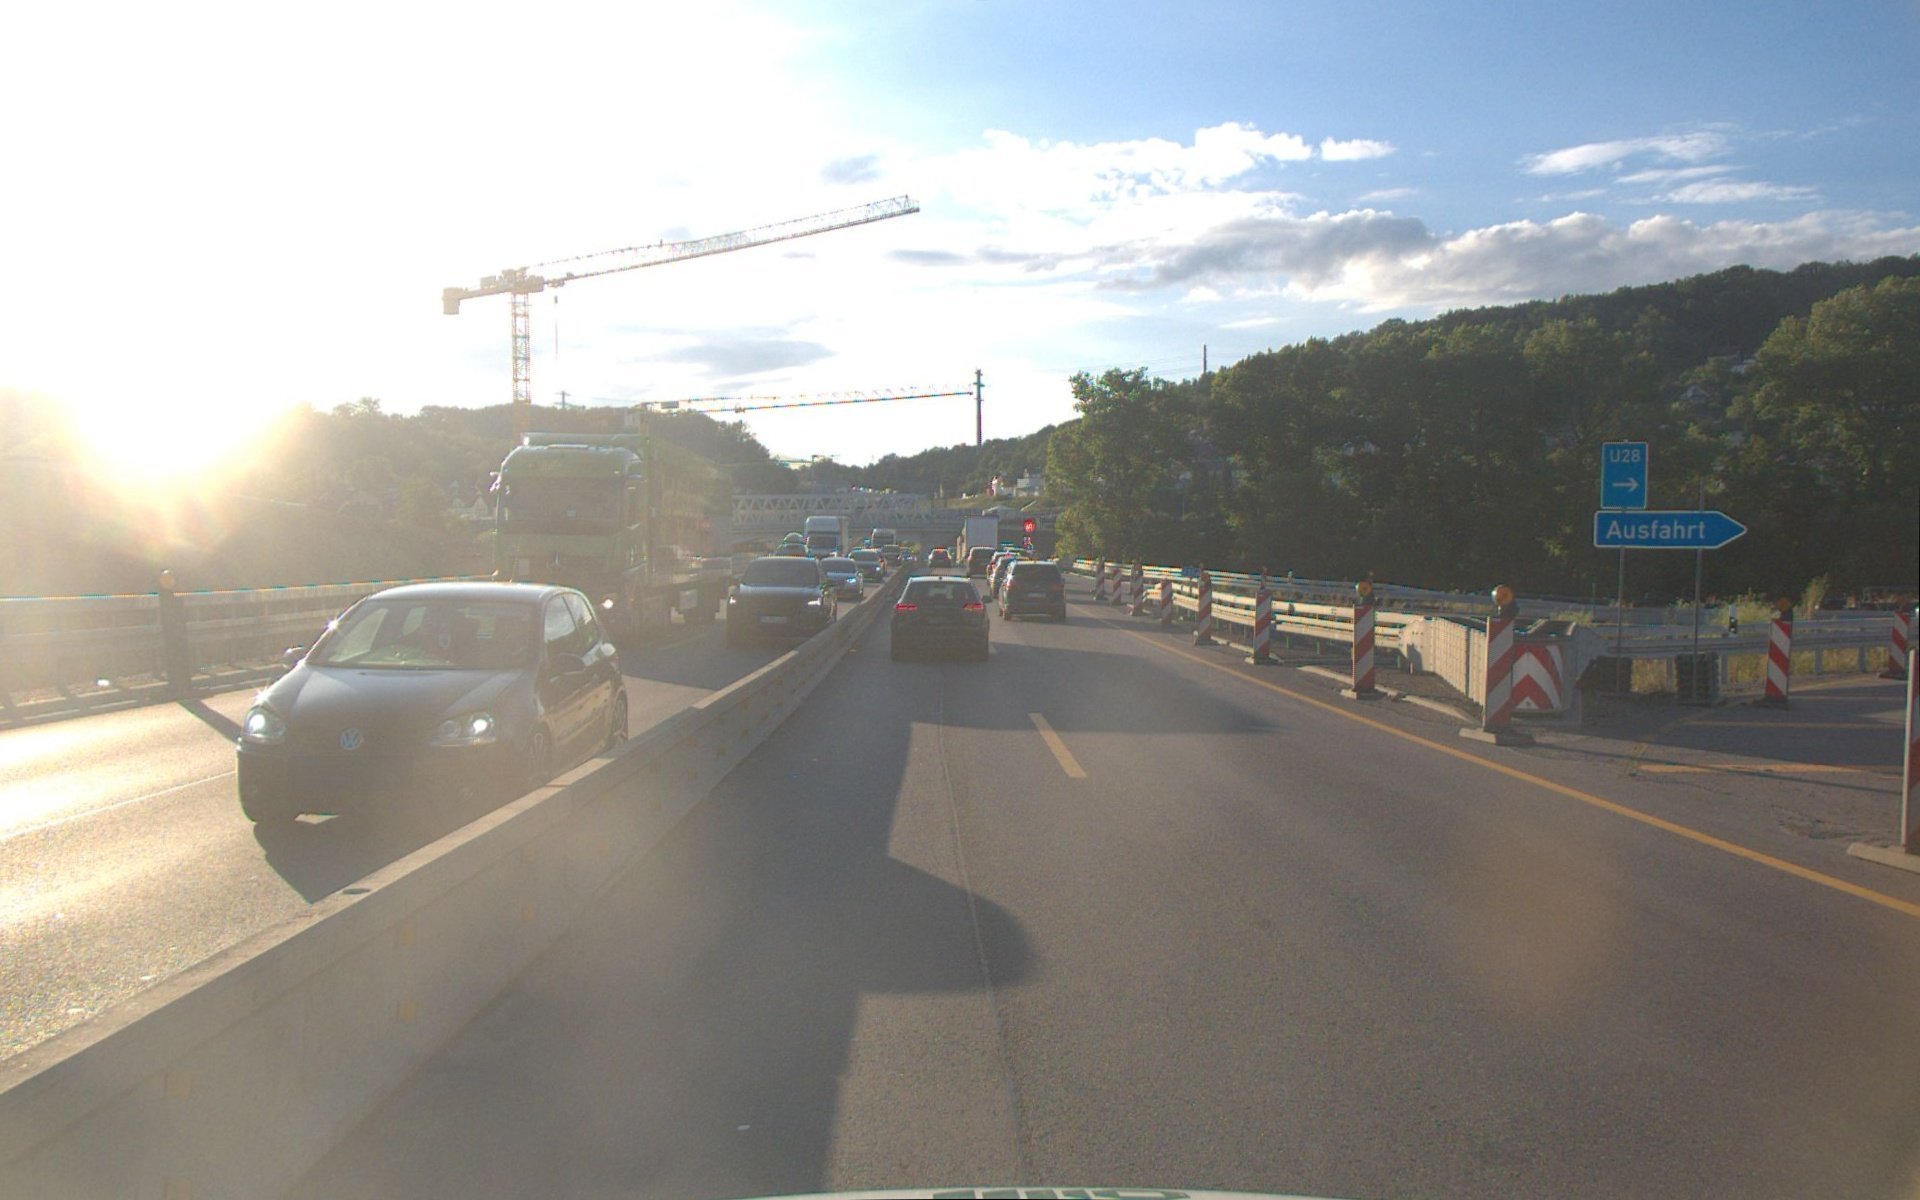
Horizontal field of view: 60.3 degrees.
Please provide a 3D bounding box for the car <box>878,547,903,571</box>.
[{"bbox_3d":[-4.965,-2.979,118.704,1.790,1.668,4.529,0,2,-2],"label":"car"}]

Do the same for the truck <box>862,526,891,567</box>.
[{"bbox_3d":[-8.701,-5.564,172.745,2.756,4.118,5.673,0,1,0],"label":"truck"}]

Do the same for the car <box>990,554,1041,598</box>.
[{"bbox_3d":[2.091,-0.942,63.158,1.738,1.613,4.135,1,1,0],"label":"car"}]

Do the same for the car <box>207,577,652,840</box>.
[{"bbox_3d":[-3.321,0.594,11.277,1.680,1.434,4.326,1,0,-1],"label":"car"}]

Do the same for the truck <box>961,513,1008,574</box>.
[{"bbox_3d":[1.884,-4.751,134.578,3.316,4.575,15.270,1,3,0],"label":"truck"}]

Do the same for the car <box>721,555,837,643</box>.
[{"bbox_3d":[-3.554,-0.022,33.183,1.873,1.637,4.494,1,0,-1],"label":"car"}]

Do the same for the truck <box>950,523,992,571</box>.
[{"bbox_3d":[1.037,-5.354,167.029,3.811,4.576,15.267,1,2,-1],"label":"truck"}]

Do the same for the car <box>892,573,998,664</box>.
[{"bbox_3d":[-0.331,0.275,29.581,1.734,1.414,3.999,1,2,-3],"label":"car"}]

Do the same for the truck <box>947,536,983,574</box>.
[{"bbox_3d":[0.533,-5.747,210.797,3.813,4.576,13.842,1,2,-3],"label":"truck"}]

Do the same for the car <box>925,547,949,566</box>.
[{"bbox_3d":[-1.792,-3.429,130.367,1.825,1.444,4.000,2,1,-1],"label":"car"}]

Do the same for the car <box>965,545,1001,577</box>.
[{"bbox_3d":[1.234,-2.121,91.055,1.778,1.660,4.410,1,1,-1],"label":"car"}]

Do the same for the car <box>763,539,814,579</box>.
[{"bbox_3d":[-8.025,-1.929,77.829,1.953,1.795,4.440,1,1,-1],"label":"car"}]

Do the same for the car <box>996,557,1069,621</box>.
[{"bbox_3d":[2.020,-0.357,47.182,1.776,1.643,4.526,0,2,-2],"label":"car"}]

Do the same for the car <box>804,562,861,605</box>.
[{"bbox_3d":[-4.626,-0.625,60.410,1.823,1.457,4.154,1,1,-1],"label":"car"}]

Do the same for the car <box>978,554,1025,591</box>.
[{"bbox_3d":[1.885,-1.272,76.505,1.837,1.627,4.964,0,1,-2],"label":"car"}]

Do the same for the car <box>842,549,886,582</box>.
[{"bbox_3d":[-4.706,-1.704,81.740,1.778,1.488,4.706,1,0,1],"label":"car"}]

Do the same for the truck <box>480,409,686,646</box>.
[{"bbox_3d":[-7.191,-1.343,32.332,2.713,4.152,5.775,1,1,-1],"label":"truck"}]

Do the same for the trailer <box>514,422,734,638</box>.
[{"bbox_3d":[-7.413,-1.487,38.786,2.718,4.101,13.679,1,1,-2],"label":"trailer"}]

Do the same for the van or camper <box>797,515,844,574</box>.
[{"bbox_3d":[-8.654,-3.460,103.162,2.408,3.559,7.413,1,2,-1],"label":"van or camper"}]
